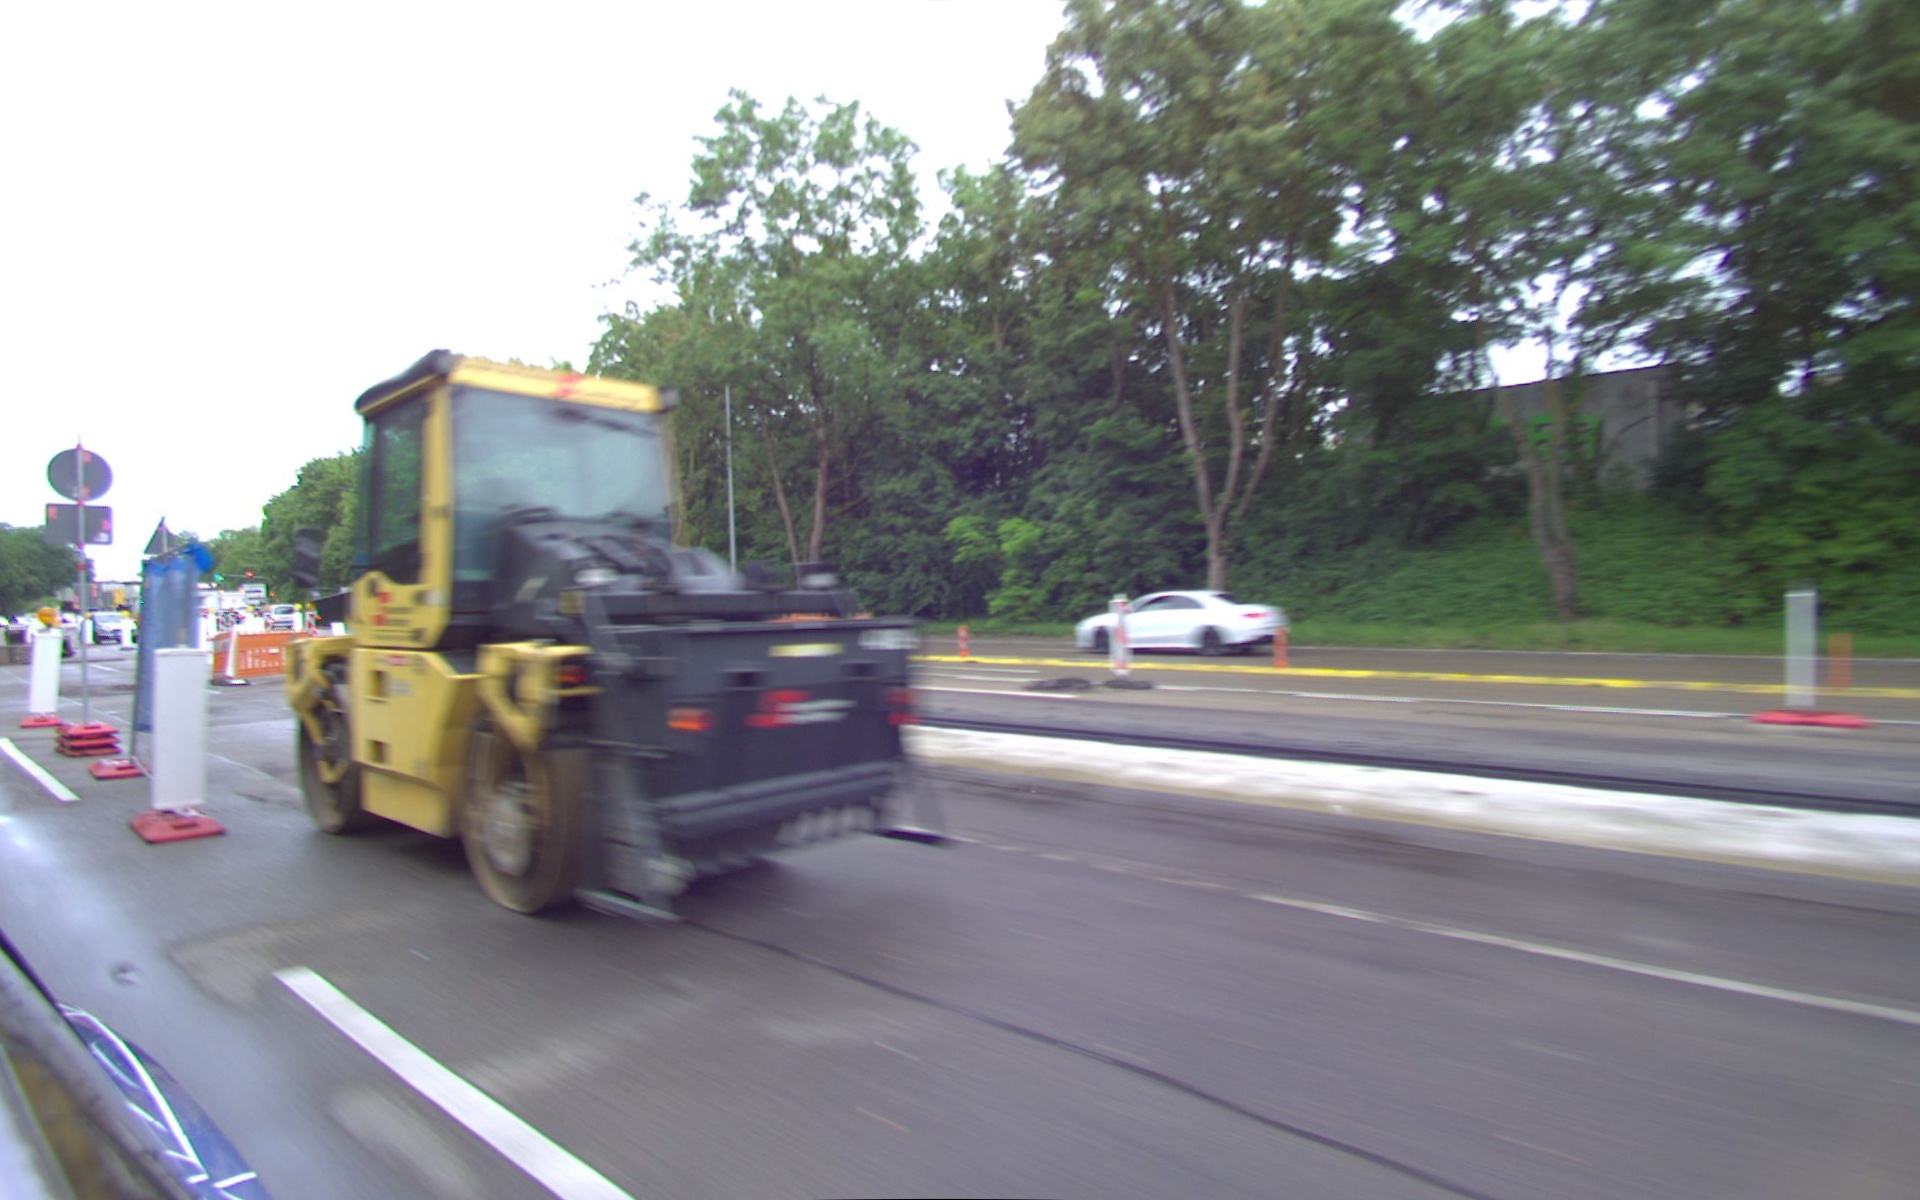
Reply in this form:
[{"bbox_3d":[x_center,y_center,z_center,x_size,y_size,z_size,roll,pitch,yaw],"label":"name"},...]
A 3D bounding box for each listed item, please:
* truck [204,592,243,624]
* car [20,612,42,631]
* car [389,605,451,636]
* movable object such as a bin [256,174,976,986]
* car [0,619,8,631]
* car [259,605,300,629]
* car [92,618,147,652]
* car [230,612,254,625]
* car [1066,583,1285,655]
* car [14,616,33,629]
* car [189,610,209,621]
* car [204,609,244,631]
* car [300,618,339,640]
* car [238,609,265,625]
[{"bbox_3d":[-94.136,0.971,129.294,3.105,3.860,9.659,-1,0,-41],"label":"truck"},{"bbox_3d":[-95.627,2.223,104.190,1.669,1.858,4.587,-1,0,-42],"label":"car"},{"bbox_3d":[-30.064,1.134,56.289,4.769,1.626,1.656,-1,-1,44],"label":"car"},{"bbox_3d":[-2.485,-0.054,6.176,5.244,3.008,1.784,-1,0,42],"label":"movable object such as a bin"},{"bbox_3d":[-126.006,3.286,132.622,1.686,1.453,4.237,-1,0,-41],"label":"car"},{"bbox_3d":[-47.979,1.187,71.349,3.771,1.626,1.656,-1,-1,44],"label":"car"},{"bbox_3d":[-43.274,1.771,52.096,3.863,1.596,1.769,-1,1,45],"label":"car"},{"bbox_3d":[-82.129,2.105,115.754,1.879,1.507,3.775,0,-1,-40],"label":"car"},{"bbox_3d":[4.715,0.413,22.535,4.467,1.437,1.765,-1,0,41],"label":"car"},{"bbox_3d":[-117.007,2.806,126.526,1.686,1.453,4.236,-1,0,-42],"label":"car"},{"bbox_3d":[-107.310,2.257,142.648,1.839,1.507,4.181,0,-1,-43],"label":"car"},{"bbox_3d":[-54.143,1.478,74.458,3.770,1.507,1.719,-1,-1,43],"label":"car"},{"bbox_3d":[-46.710,2.087,73.765,3.609,1.495,1.602,-1,-1,44],"label":"car"},{"bbox_3d":[-70.077,1.690,100.030,1.655,1.507,3.773,0,-1,-43],"label":"car"}]
